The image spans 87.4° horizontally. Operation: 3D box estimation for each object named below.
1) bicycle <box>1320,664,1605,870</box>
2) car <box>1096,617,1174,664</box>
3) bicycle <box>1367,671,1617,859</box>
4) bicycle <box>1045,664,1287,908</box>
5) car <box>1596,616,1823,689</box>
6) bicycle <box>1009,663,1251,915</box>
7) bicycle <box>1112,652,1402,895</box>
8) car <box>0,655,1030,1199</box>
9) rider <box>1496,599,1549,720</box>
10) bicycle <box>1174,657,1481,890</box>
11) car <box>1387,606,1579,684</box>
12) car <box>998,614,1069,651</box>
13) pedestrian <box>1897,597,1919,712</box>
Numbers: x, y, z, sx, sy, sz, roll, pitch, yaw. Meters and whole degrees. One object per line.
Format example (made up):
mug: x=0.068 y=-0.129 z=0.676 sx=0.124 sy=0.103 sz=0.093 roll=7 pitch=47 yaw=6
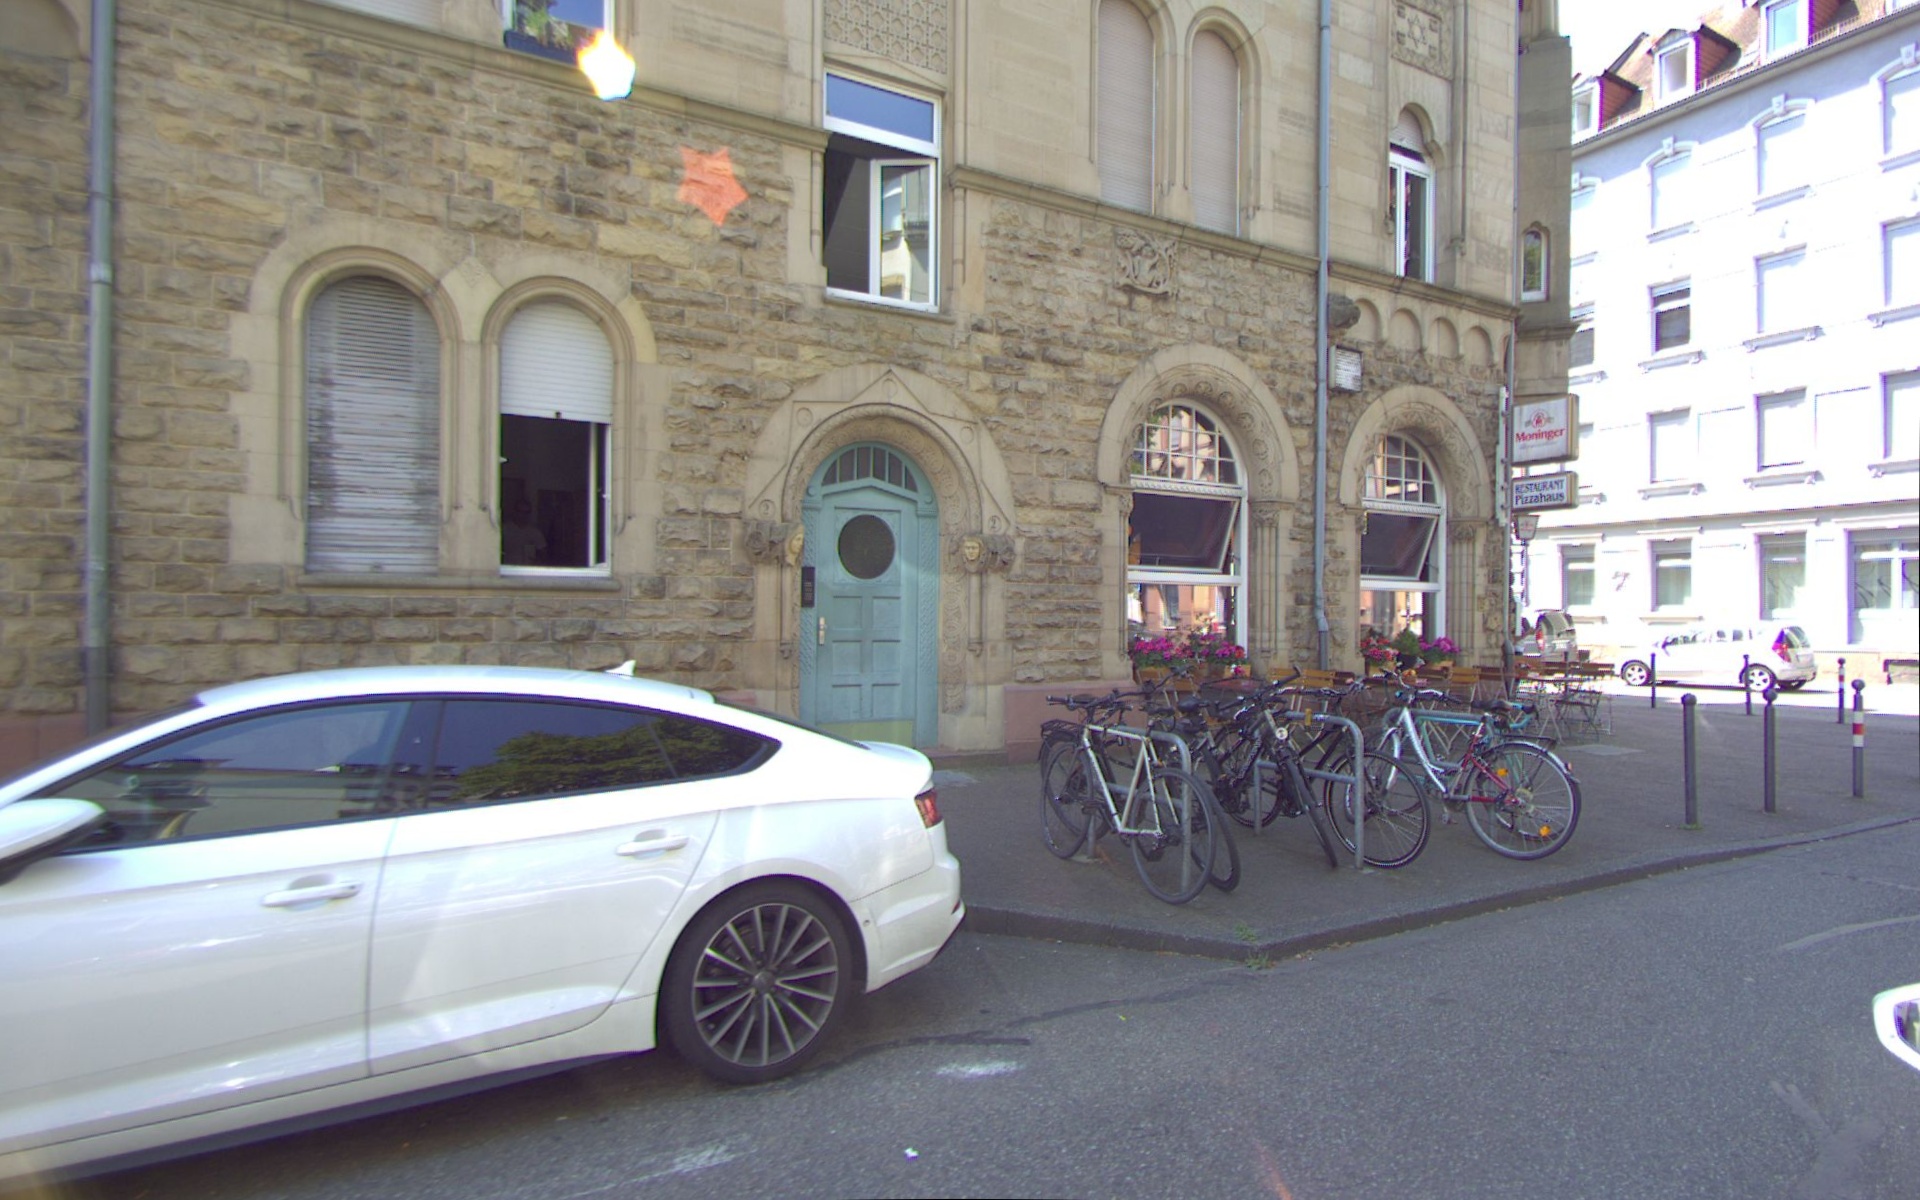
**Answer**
bicycle: x=3.225 y=1.016 z=6.619 sx=0.409 sy=1.059 sz=1.695 roll=1 pitch=1 yaw=-31
car: x=7.517 y=1.727 z=43.414 sx=1.529 sy=1.910 sz=3.335 roll=0 pitch=-1 yaw=-29
bicycle: x=3.570 y=1.059 z=6.872 sx=0.363 sy=1.021 sz=1.516 roll=1 pitch=1 yaw=-31
bicycle: x=1.128 y=0.992 z=5.890 sx=0.289 sy=1.115 sz=1.693 roll=1 pitch=0 yaw=-31
car: x=17.964 y=1.228 z=24.273 sx=1.785 sy=1.582 sz=4.029 roll=1 pitch=-2 yaw=-29
bicycle: x=0.884 y=0.968 z=5.684 sx=0.289 sy=1.115 sz=1.693 roll=1 pitch=0 yaw=-31
bicycle: x=1.770 y=0.985 z=6.344 sx=0.390 sy=1.145 sz=1.961 roll=1 pitch=2 yaw=-31
car: x=-2.071 y=0.896 z=3.436 sx=4.463 sy=1.370 sz=1.693 roll=1 pitch=-4 yaw=-31
rider: x=8.215 y=0.855 z=14.679 sx=0.530 sy=1.719 sz=0.642 roll=0 pitch=-2 yaw=17
bicycle: x=2.228 y=0.993 z=6.398 sx=0.431 sy=1.144 sz=1.984 roll=1 pitch=0 yaw=-31
car: x=14.966 y=1.261 z=29.061 sx=1.854 sy=2.024 sz=4.687 roll=-1 pitch=-1 yaw=-28
car: x=3.638 y=1.603 z=50.281 sx=1.701 sy=1.752 sz=3.816 roll=0 pitch=-1 yaw=-29
pedestrian: x=16.430 y=0.906 z=16.718 sx=0.920 sy=1.914 sz=0.850 roll=1 pitch=-2 yaw=-15
